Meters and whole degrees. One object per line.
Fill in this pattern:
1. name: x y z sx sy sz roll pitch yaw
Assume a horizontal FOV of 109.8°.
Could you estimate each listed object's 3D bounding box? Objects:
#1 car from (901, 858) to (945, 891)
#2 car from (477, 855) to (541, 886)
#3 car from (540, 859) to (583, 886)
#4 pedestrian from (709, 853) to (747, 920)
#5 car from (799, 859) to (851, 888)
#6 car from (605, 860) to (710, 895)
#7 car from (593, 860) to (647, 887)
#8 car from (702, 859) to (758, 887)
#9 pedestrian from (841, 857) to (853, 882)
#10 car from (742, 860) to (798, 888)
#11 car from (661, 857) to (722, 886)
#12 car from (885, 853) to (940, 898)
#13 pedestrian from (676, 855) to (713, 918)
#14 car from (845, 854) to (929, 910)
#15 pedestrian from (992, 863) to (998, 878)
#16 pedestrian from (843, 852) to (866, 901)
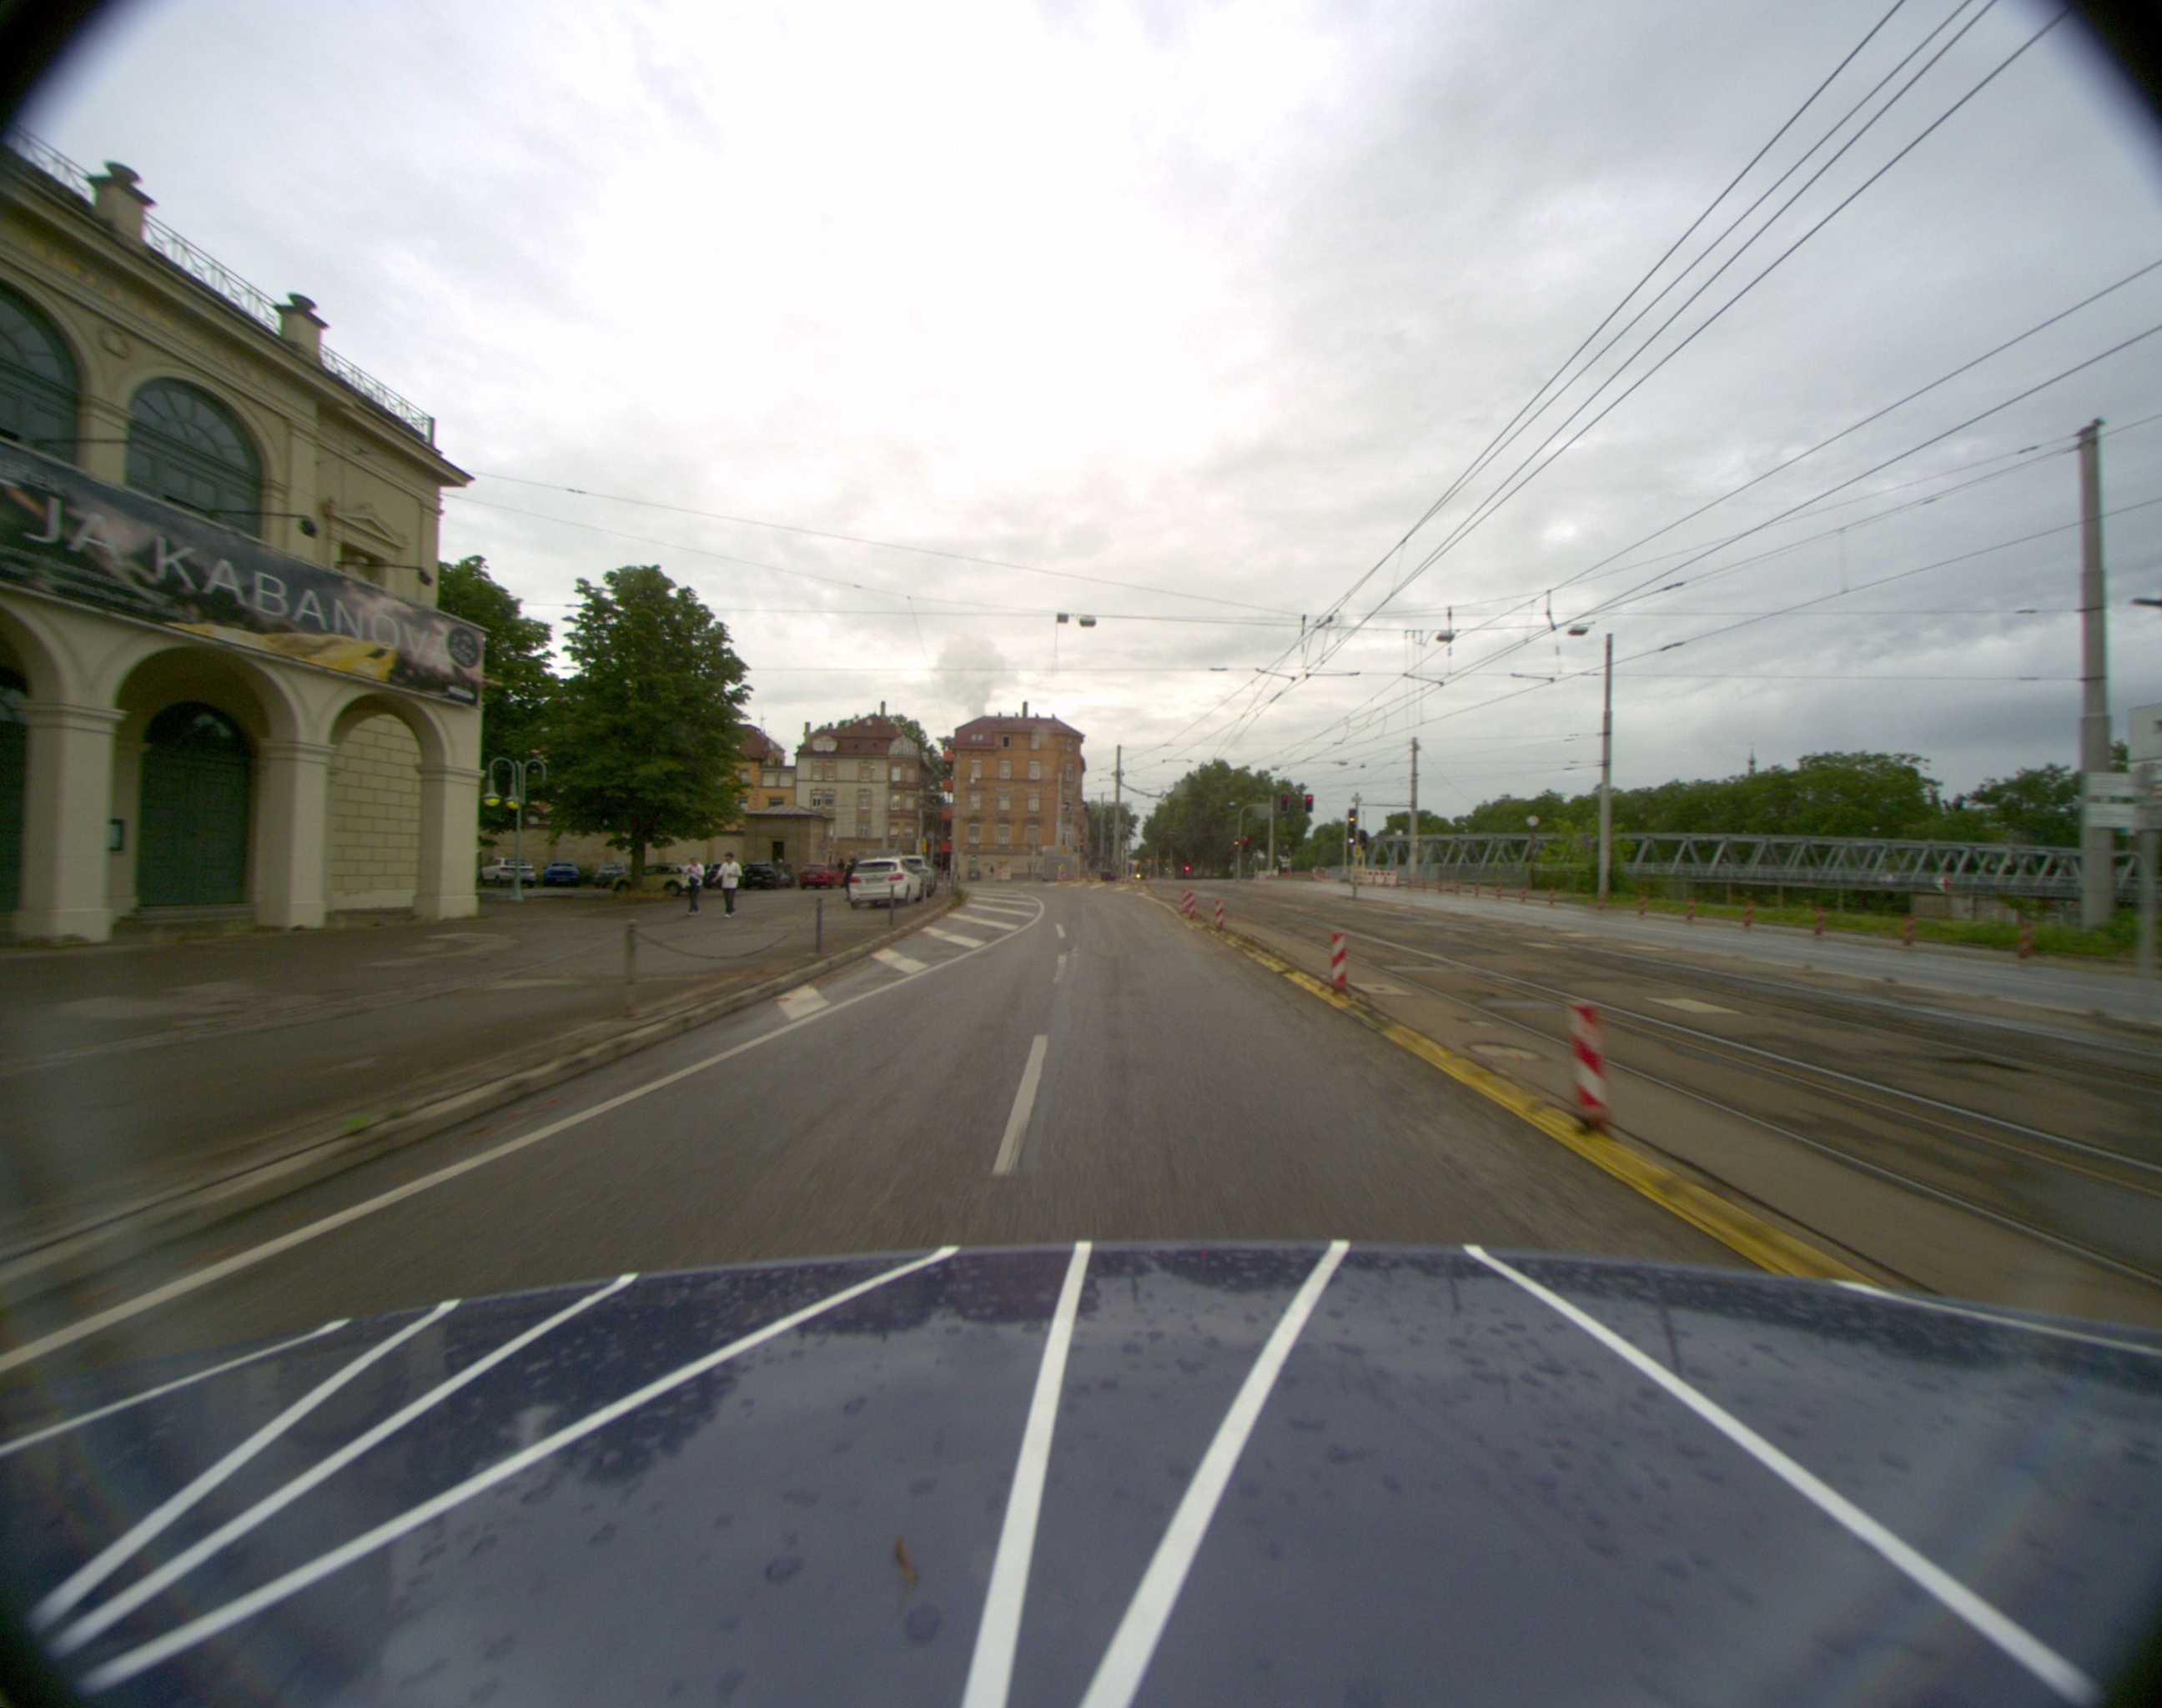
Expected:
1. car: -7.675 0.980 37.184 1.845 1.455 4.139 -2 0 -9
2. car: -31.060 0.861 41.220 3.988 1.573 1.686 1 0 37
3. car: -29.750 1.022 43.453 1.707 1.387 3.988 1 0 -38
4. pedestrian: -9.290 0.844 20.028 0.595 1.726 0.839 1 0 -1
5. car: -14.697 1.075 43.839 1.831 1.573 3.998 1 0 -4
6. car: -19.074 1.053 34.306 3.742 1.460 1.729 1 0 4
7. car: -26.788 1.100 44.293 1.724 1.433 3.994 1 0 -17
8. car: -20.527 1.084 44.603 1.682 1.488 3.998 1 0 -5
9. pedestrian: -16.238 1.062 52.674 0.451 1.731 0.712 1 0 13
10. car: -17.911 1.109 43.945 1.864 1.539 4.064 0 0 -5
11. car: -22.954 1.015 44.943 1.831 1.573 3.998 1 0 -6
12. car: -6.741 0.813 30.771 1.721 1.630 4.140 -2 1 -7
13. pedestrian: -10.378 0.863 20.420 0.629 1.635 0.780 1 0 -5
14. car: -6.285 0.869 25.124 1.844 1.630 4.142 -2 0 -3
15. pedestrian: -9.514 1.869 84.205 0.512 1.644 0.535 1 0 -1
16. pedestrian: -8.360 0.821 28.037 0.698 1.796 0.781 0 1 -8
